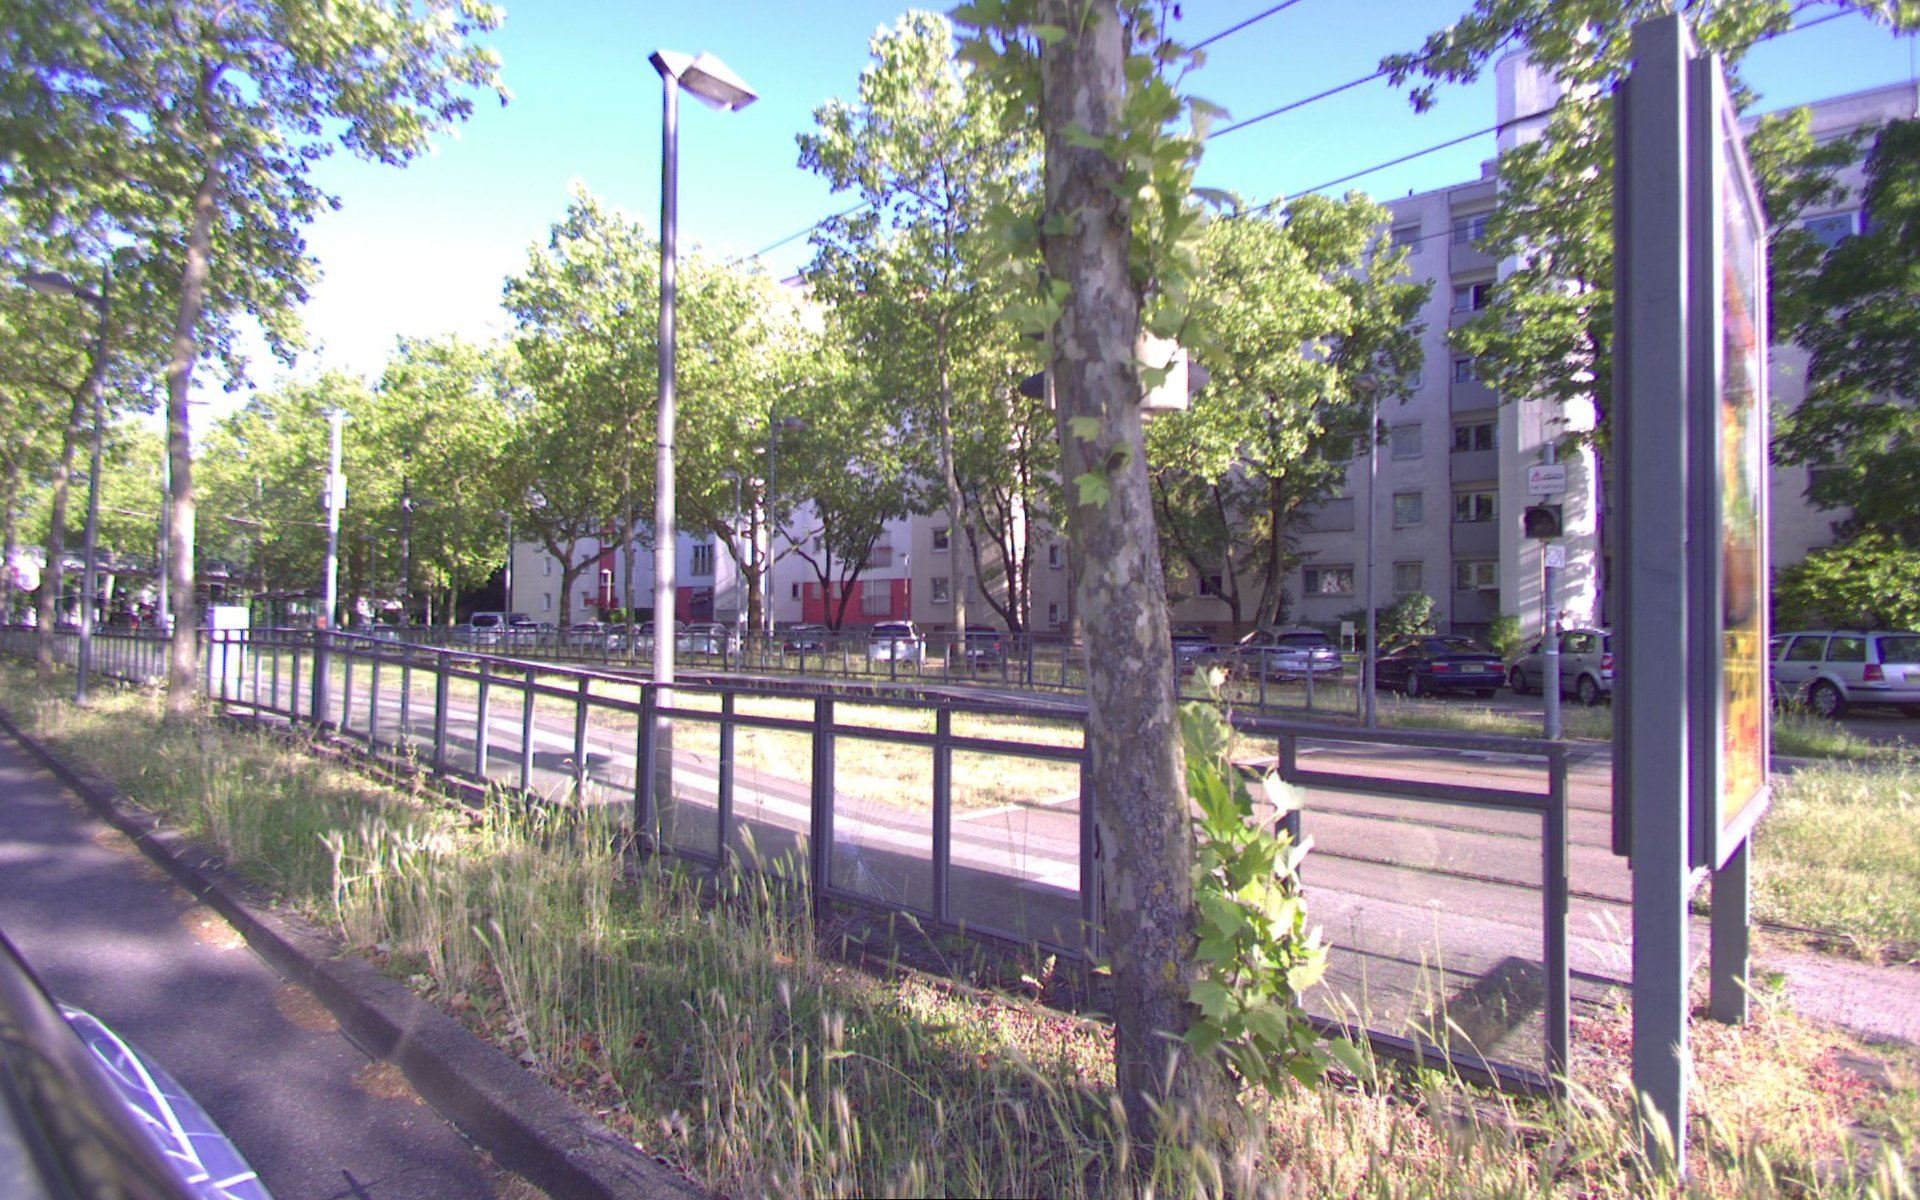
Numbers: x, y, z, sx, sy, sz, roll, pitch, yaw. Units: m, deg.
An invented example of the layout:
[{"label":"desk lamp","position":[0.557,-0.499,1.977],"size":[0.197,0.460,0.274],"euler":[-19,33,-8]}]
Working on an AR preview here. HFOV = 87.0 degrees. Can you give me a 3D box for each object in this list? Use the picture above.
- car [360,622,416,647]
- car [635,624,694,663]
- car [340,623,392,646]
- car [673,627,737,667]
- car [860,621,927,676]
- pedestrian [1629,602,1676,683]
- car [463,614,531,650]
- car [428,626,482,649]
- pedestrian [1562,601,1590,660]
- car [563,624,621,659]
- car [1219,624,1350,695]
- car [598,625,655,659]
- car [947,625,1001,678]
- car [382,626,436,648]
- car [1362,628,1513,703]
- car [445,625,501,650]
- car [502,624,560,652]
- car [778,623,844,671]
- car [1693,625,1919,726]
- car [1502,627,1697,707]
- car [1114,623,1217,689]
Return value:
[{"label":"car","position":[-36.772,2.183,65.135],"size":[1.578,1.582,3.830],"euler":[0,-1,-3]},{"label":"car","position":[-12.829,1.873,44.082],"size":[1.445,1.519,3.393],"euler":[-1,0,3]},{"label":"car","position":[-40.881,2.333,69.739],"size":[1.578,1.538,3.737],"euler":[0,-1,-3]},{"label":"car","position":[-10.409,1.886,41.535],"size":[1.470,1.425,3.880],"euler":[-1,0,3]},{"label":"car","position":[-2.178,1.582,34.068],"size":[1.791,1.607,3.996],"euler":[-1,0,3]},{"label":"pedestrian","position":[15.430,0.933,22.542],"size":[0.755,1.770,0.752],"euler":[-1,-2,42]},{"label":"car","position":[-24.727,1.701,54.219],"size":[1.843,1.826,4.048],"euler":[0,-1,-1]},{"label":"car","position":[-29.430,2.183,59.098],"size":[1.459,1.311,3.487],"euler":[0,-1,-1]},{"label":"pedestrian","position":[18.810,0.928,30.908],"size":[0.634,1.770,0.516],"euler":[-1,-2,40]},{"label":"car","position":[-17.414,1.937,48.045],"size":[1.539,1.436,3.489],"euler":[-3,0,-2]},{"label":"car","position":[7.750,1.369,24.579],"size":[1.650,1.469,4.003],"euler":[-1,0,-4]},{"label":"car","position":[-15.201,1.890,46.276],"size":[1.459,1.339,3.488],"euler":[-2,0,-1]},{"label":"car","position":[0.473,1.571,31.537],"size":[1.538,1.439,3.761],"euler":[-1,0,3]},{"label":"car","position":[-34.270,2.286,63.041],"size":[1.459,1.330,3.487],"euler":[0,-1,-1]},{"label":"car","position":[10.317,1.365,22.172],"size":[1.572,1.360,3.922],"euler":[-1,0,3]},{"label":"car","position":[-27.094,2.080,56.395],"size":[1.459,1.354,3.487],"euler":[0,-1,-1]},{"label":"car","position":[-22.169,1.942,52.411],"size":[1.605,1.414,3.487],"euler":[0,-1,-1]},{"label":"car","position":[-5.321,1.648,36.515],"size":[1.609,1.499,3.996],"euler":[-1,0,3]},{"label":"car","position":[15.080,1.207,17.577],"size":[1.685,1.454,3.978],"euler":[-1,0,-1]},{"label":"car","position":[12.750,1.280,20.453],"size":[1.553,1.431,3.620],"euler":[-1,-1,-1]},{"label":"car","position":[5.316,1.411,26.695],"size":[1.669,1.499,4.003],"euler":[-1,0,-3]}]
